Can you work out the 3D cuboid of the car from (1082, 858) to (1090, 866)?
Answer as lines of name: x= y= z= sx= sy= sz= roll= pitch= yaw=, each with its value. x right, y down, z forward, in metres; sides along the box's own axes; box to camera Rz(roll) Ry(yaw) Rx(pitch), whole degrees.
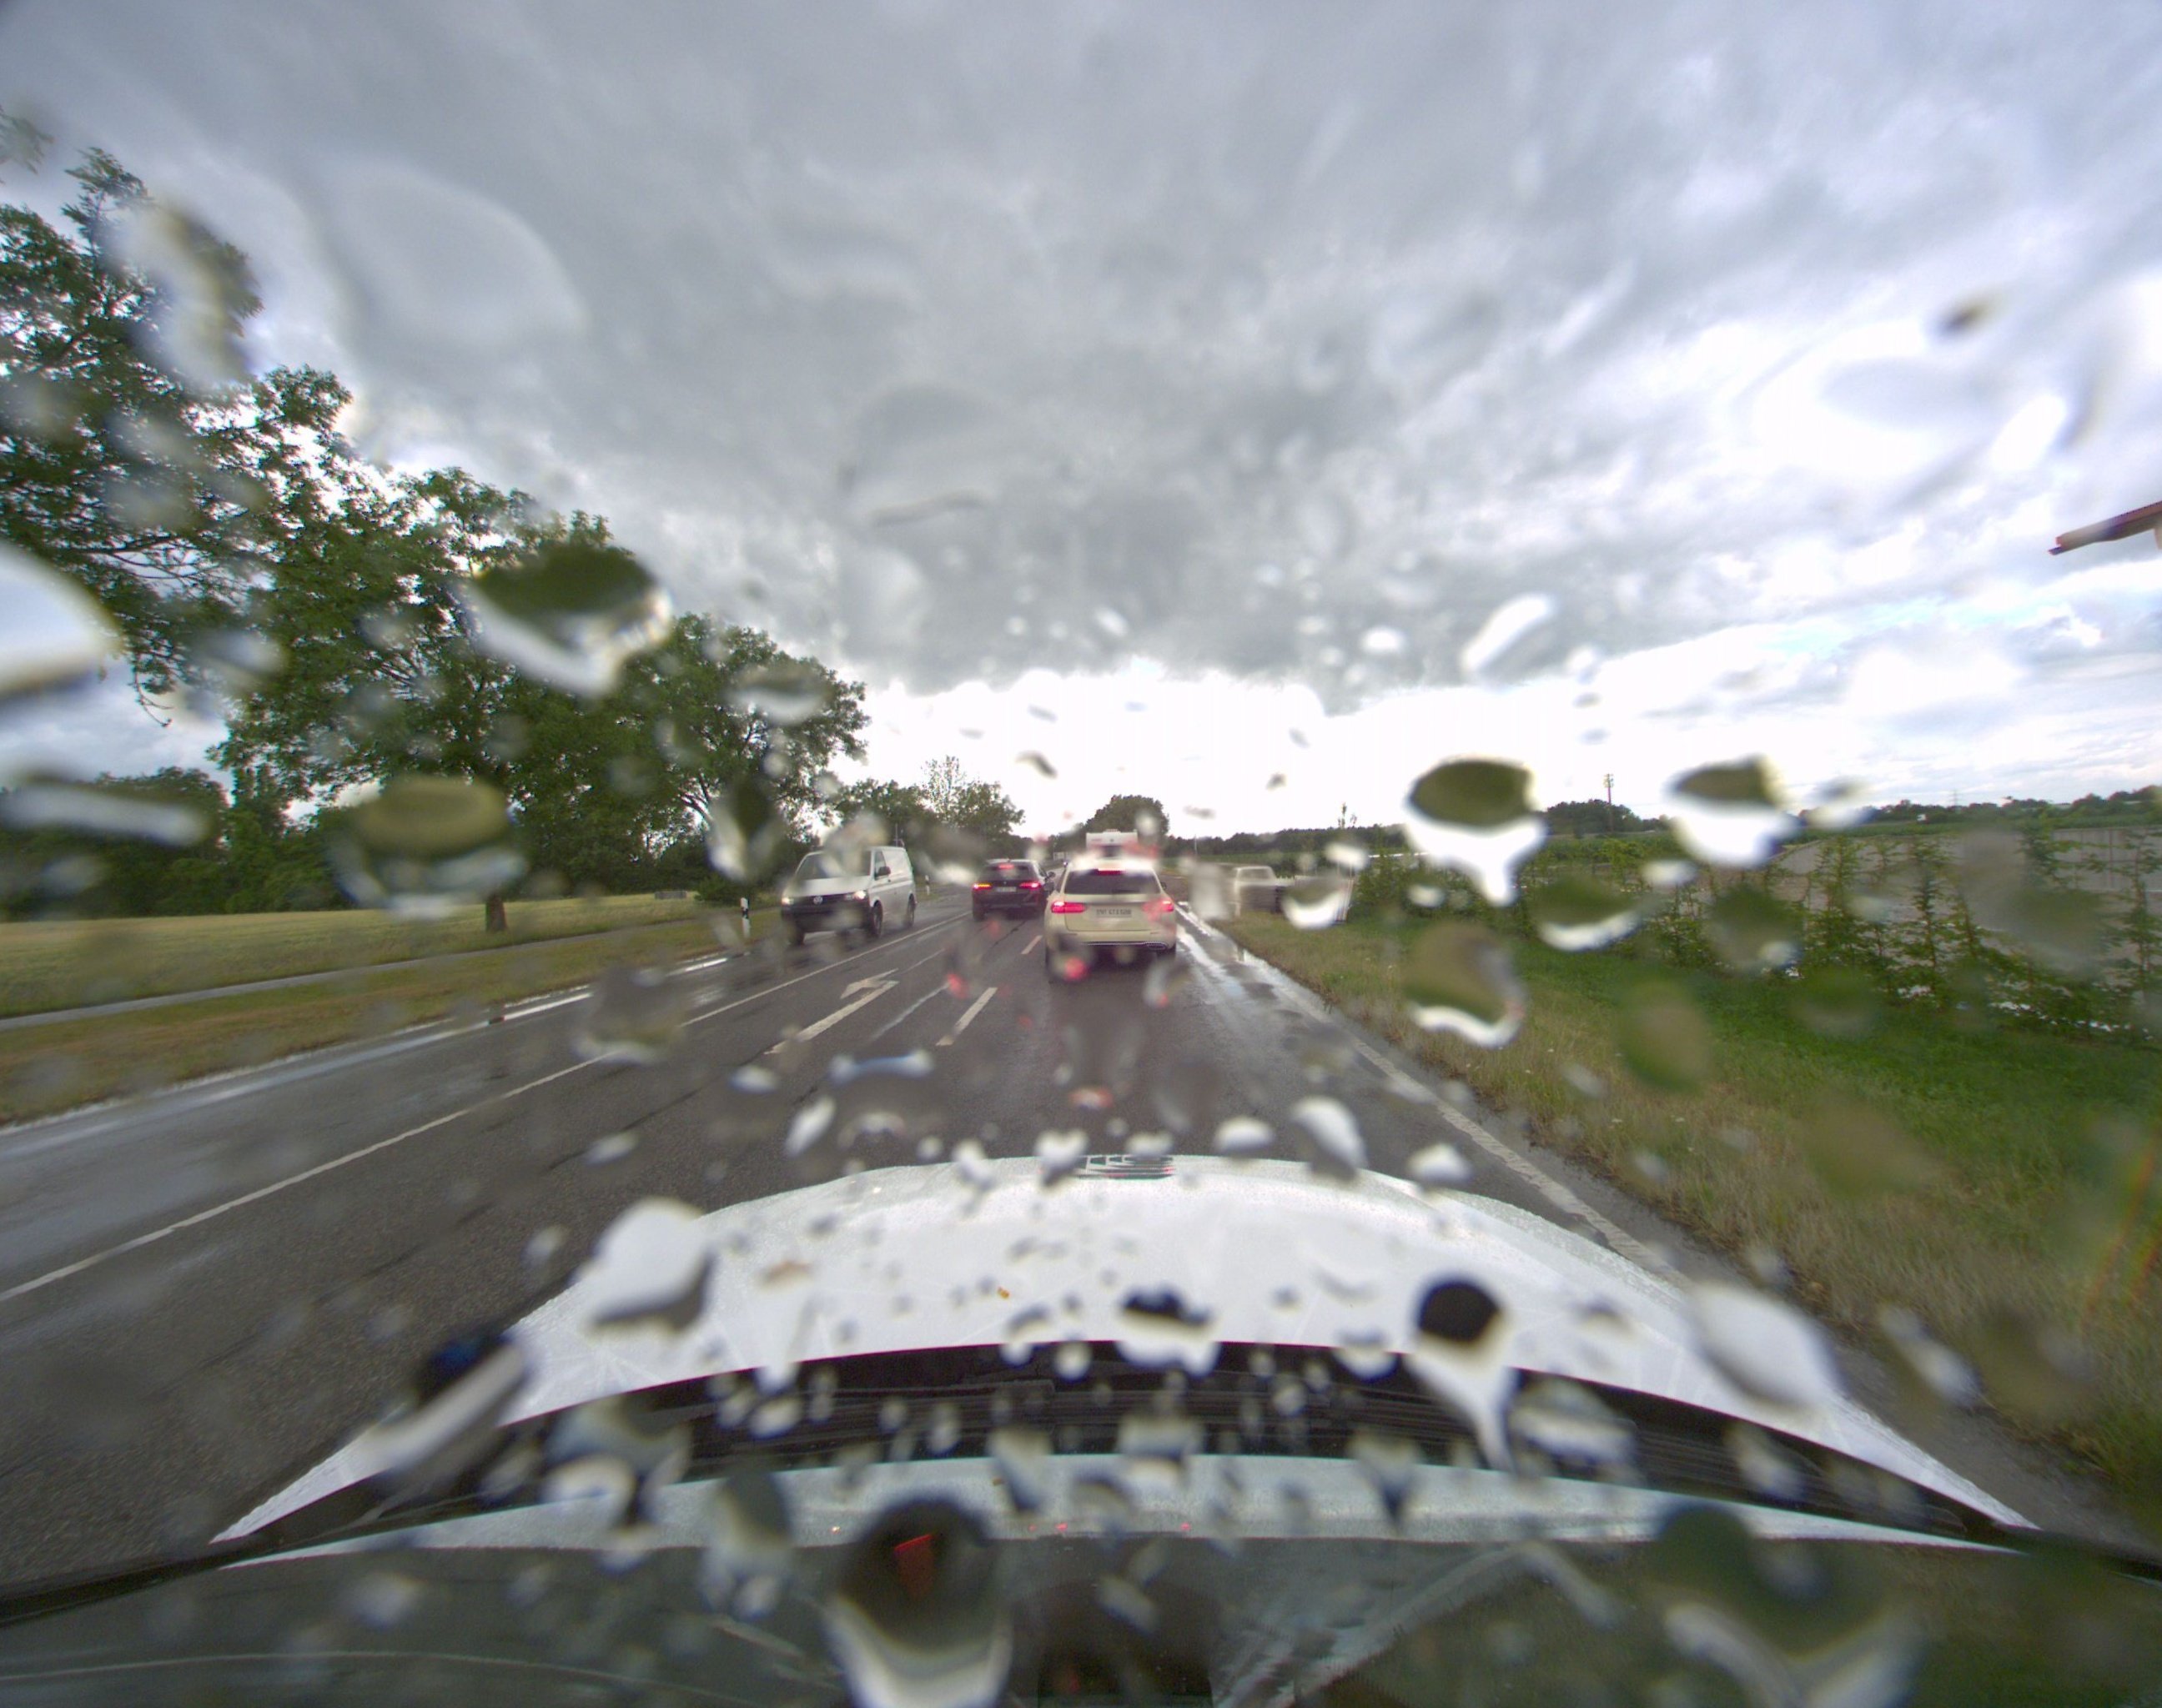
car: x=1.173 y=1.995 z=207.785 sx=1.891 sy=1.895 sz=3.841 roll=-3 pitch=0 yaw=-2

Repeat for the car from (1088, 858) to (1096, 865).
car: x=2.396 y=1.708 z=182.311 sx=1.676 sy=1.550 sz=3.753 roll=-1 pitch=0 yaw=1

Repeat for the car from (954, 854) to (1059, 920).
car: x=-1.858 y=0.817 z=21.961 sx=2.293 sy=1.547 sz=4.633 roll=-1 pitch=-1 yaw=1

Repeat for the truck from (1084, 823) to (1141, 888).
truck: x=1.460 y=0.070 z=39.113 sx=2.355 sy=2.729 sz=7.316 roll=-3 pitch=0 yaw=1

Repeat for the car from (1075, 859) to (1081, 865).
car: x=-0.906 y=2.463 z=256.534 sx=1.888 sy=1.839 sz=3.883 roll=-3 pitch=0 yaw=1

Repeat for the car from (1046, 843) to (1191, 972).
car: x=0.532 y=0.700 z=12.468 sx=1.836 sy=1.618 sz=4.001 roll=-1 pitch=0 yaw=1

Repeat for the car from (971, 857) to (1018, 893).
car: x=-4.464 y=1.064 z=42.465 sx=1.697 sy=1.671 sz=4.158 roll=-4 pitch=0 yaw=2

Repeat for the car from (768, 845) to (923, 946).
car: x=-5.110 y=0.833 z=18.429 sx=1.910 sy=1.861 sz=4.686 roll=-4 pitch=-1 yaw=1

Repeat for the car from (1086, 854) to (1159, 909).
car: x=1.195 y=0.771 z=24.278 sx=1.986 sy=1.462 sz=4.001 roll=-1 pitch=-1 yaw=1

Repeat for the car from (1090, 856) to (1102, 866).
car: x=2.890 y=1.357 z=155.041 sx=1.989 sy=1.772 sz=3.996 roll=-3 pitch=0 yaw=-2

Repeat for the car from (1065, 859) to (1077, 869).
car: x=-1.594 y=1.652 z=133.916 sx=1.714 sy=1.404 sz=4.044 roll=-4 pitch=0 yaw=1
